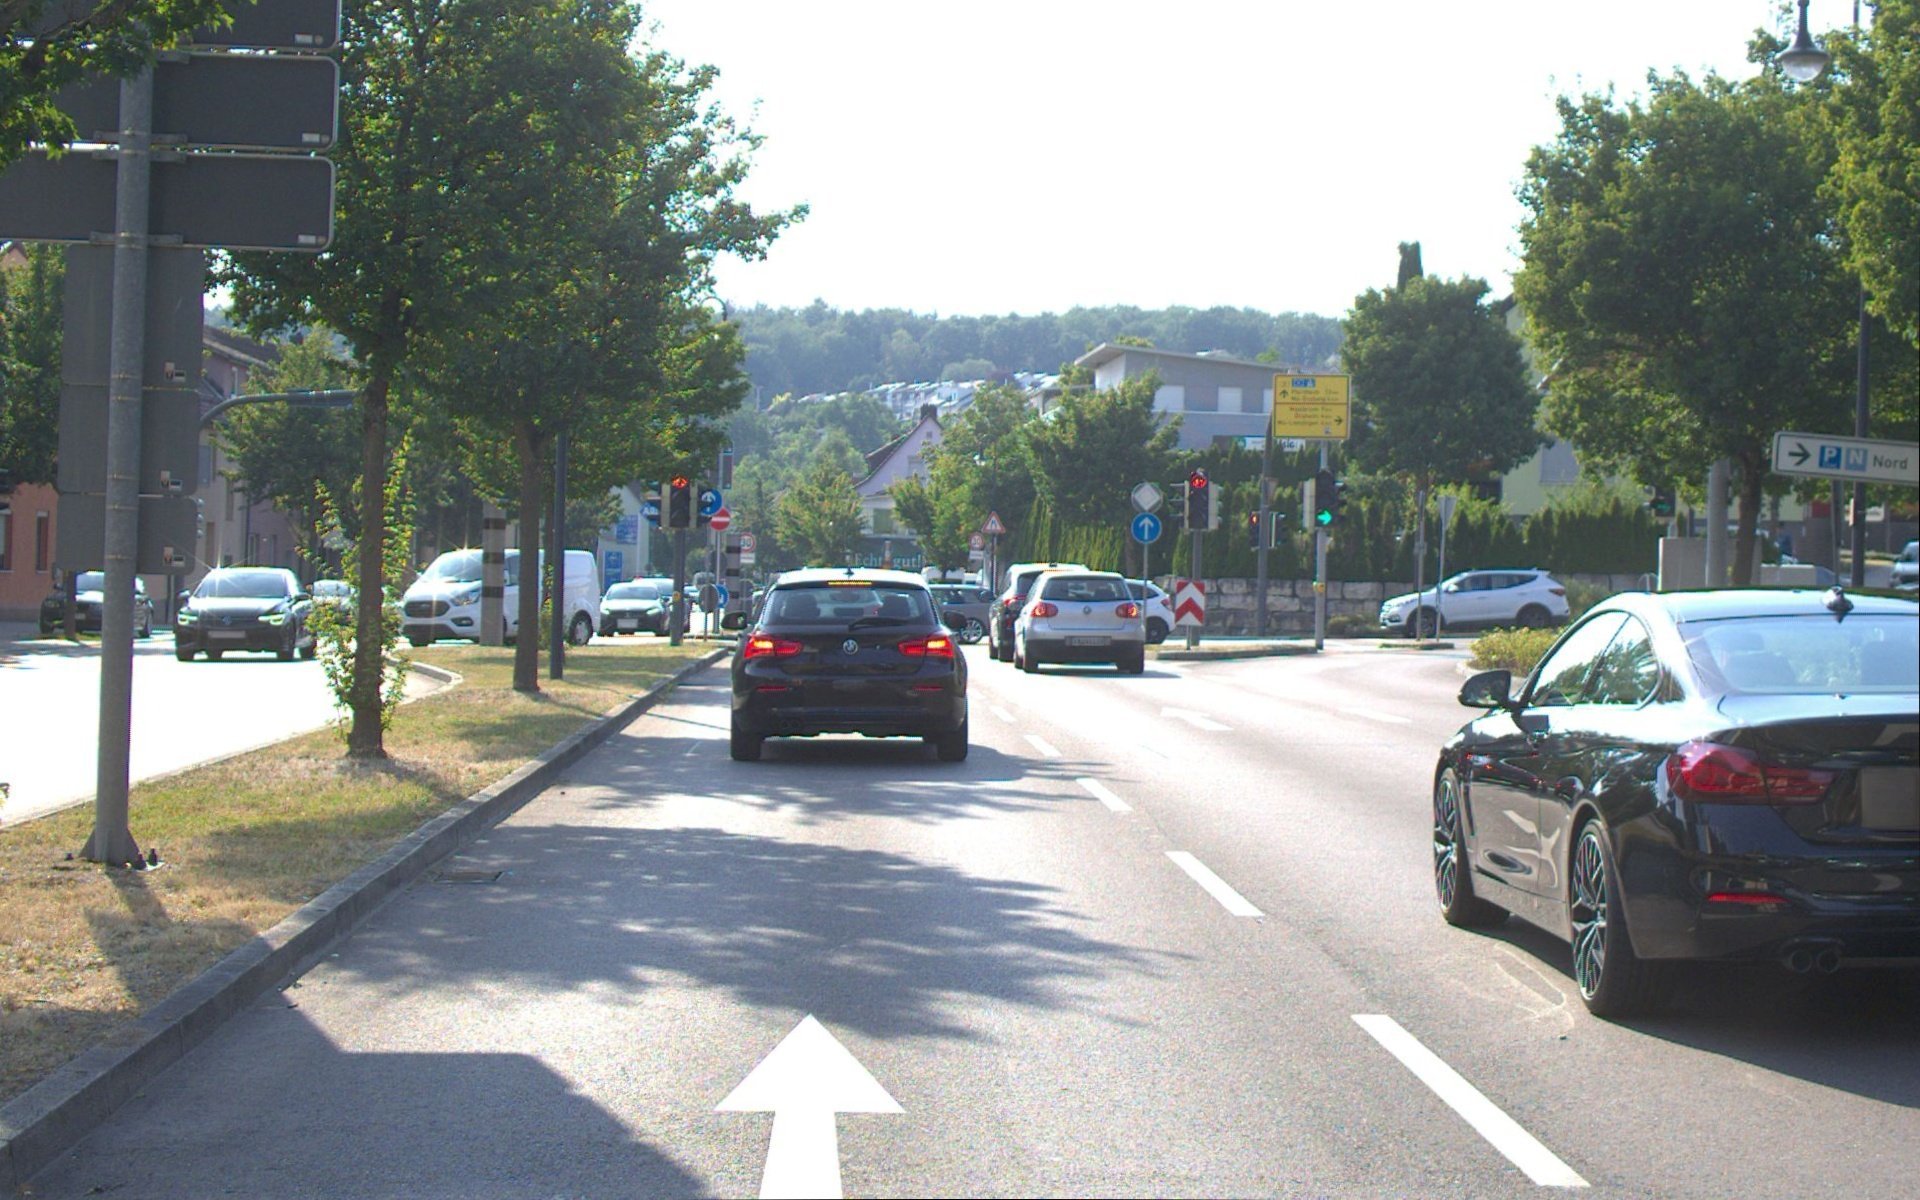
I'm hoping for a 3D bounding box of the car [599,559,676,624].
[{"bbox_3d":[-8.671,-0.237,92.561,1.730,1.673,4.000,0,1,-1],"label":"car"}]

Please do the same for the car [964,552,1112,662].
[{"bbox_3d":[1.279,0.085,58.320,2.216,1.763,4.455,0,1,-2],"label":"car"}]

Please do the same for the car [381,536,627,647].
[{"bbox_3d":[-9.047,-0.208,68.705,2.143,2.122,5.116,1,1,31],"label":"car"}]

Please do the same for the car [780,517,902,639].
[{"bbox_3d":[-1.804,-0.351,51.772,1.756,1.763,3.971,0,1,-2],"label":"car"}]

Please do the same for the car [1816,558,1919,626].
[{"bbox_3d":[26.068,-0.232,94.256,4.630,1.823,2.000,0,1,-4],"label":"car"}]

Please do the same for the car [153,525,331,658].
[{"bbox_3d":[-11.373,-0.176,54.793,2.139,2.002,5.126,0,1,-5],"label":"car"}]

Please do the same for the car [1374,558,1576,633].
[{"bbox_3d":[12.813,-0.124,85.623,4.630,1.823,2.000,0,1,-4],"label":"car"}]

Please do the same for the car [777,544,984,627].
[{"bbox_3d":[-1.900,-0.357,83.275,4.947,1.922,2.146,1,1,0],"label":"car"}]

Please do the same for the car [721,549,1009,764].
[{"bbox_3d":[-0.649,0.368,26.689,1.721,1.485,4.352,1,1,5],"label":"car"}]

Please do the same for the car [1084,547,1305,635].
[{"bbox_3d":[5.289,-0.210,77.802,4.533,1.922,2.147,0,1,-13],"label":"car"}]

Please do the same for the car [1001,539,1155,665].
[{"bbox_3d":[1.690,-0.014,50.599,1.925,1.763,4.455,0,1,-2],"label":"car"}]

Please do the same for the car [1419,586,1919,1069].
[{"bbox_3d":[2.908,0.652,12.131,1.920,1.359,4.353,0,1,-1],"label":"car"}]
